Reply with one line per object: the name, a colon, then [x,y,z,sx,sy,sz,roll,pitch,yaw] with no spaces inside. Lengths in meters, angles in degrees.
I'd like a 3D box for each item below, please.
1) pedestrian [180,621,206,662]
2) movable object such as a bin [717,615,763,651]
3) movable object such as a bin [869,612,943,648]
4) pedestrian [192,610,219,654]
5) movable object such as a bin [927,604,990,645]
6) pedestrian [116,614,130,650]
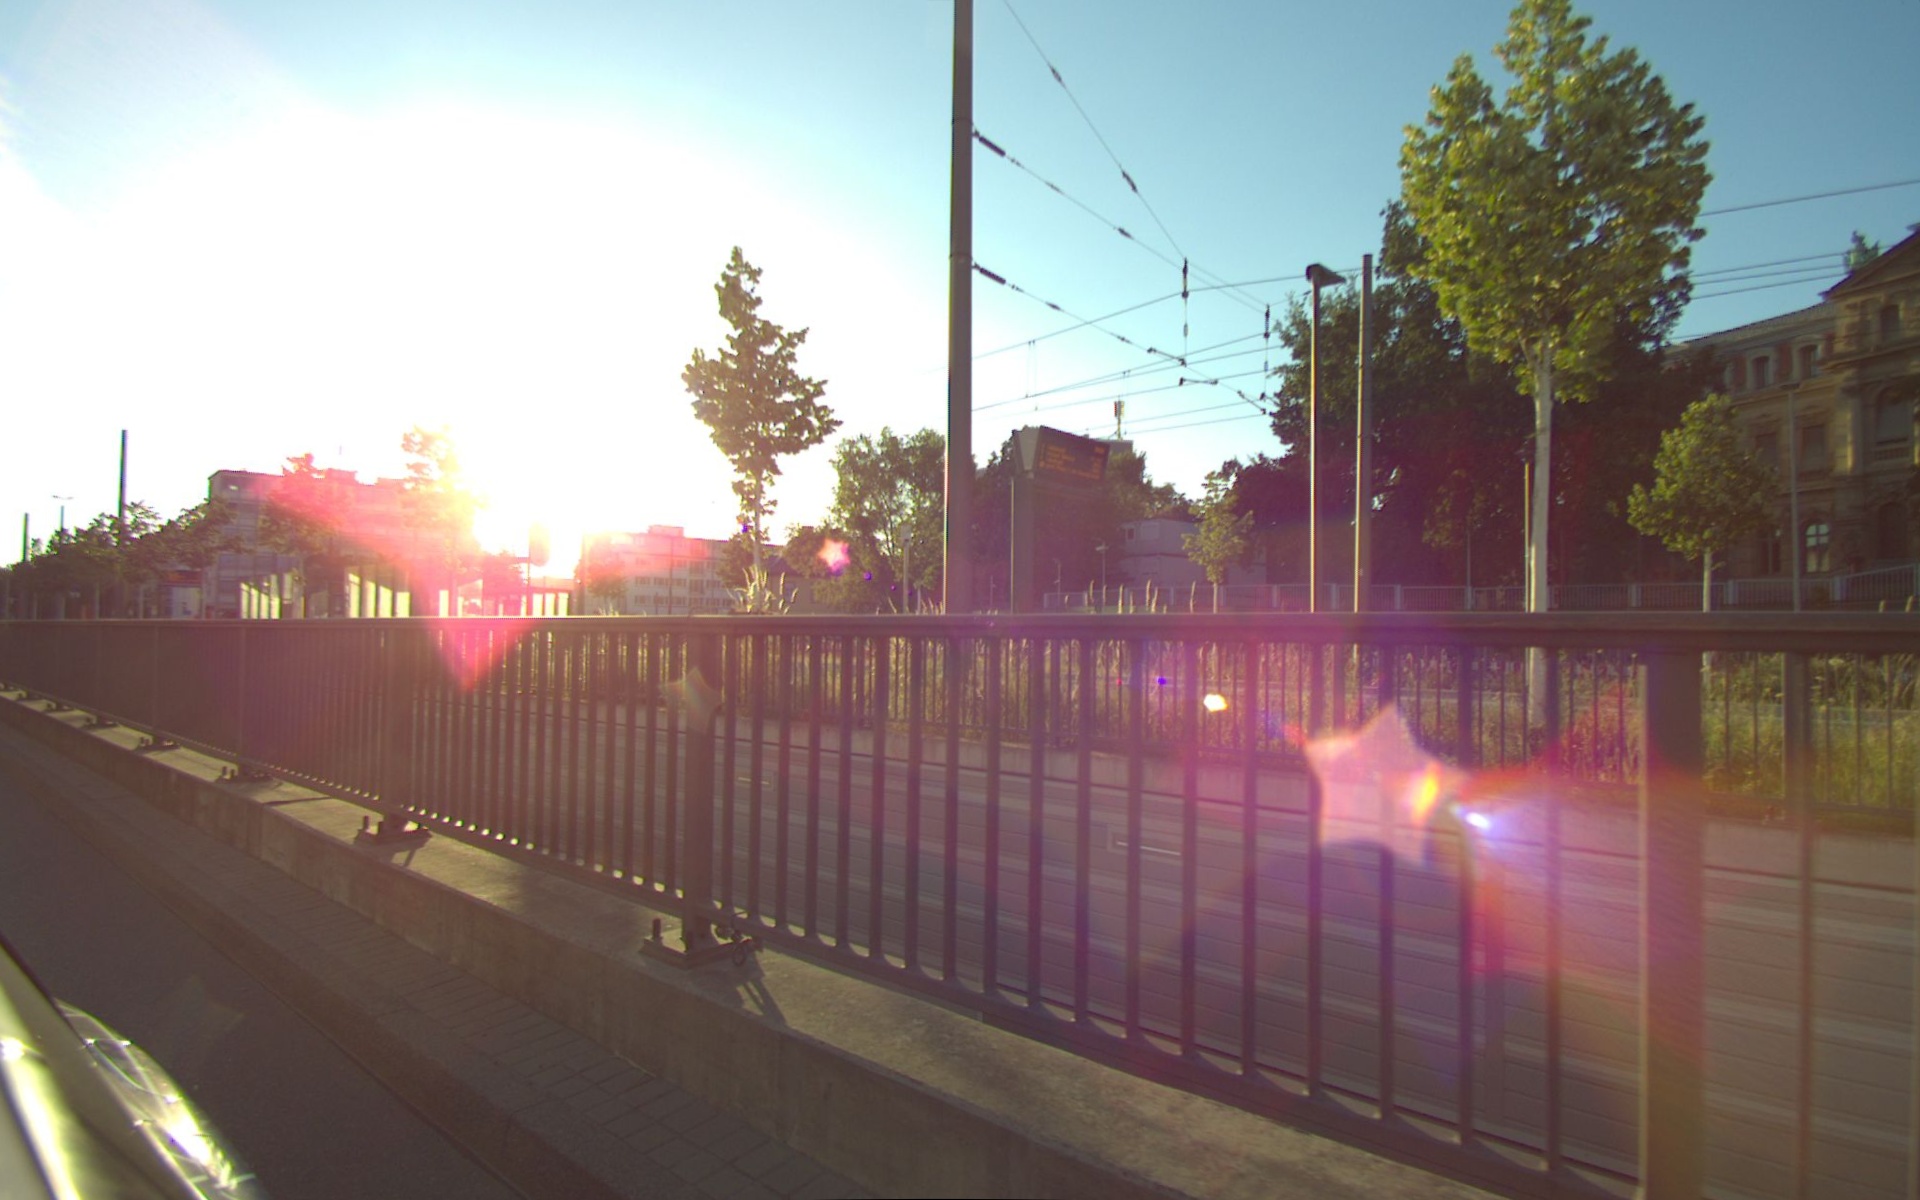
pedestrian: [-33.488,1.828,44.205,0.634,1.758,0.719,-2,-3,33]
movable object such as a bin: [-16.910,2.523,77.600,1.967,2.727,4.009,1,-2,-36]
movable object such as a bin: [-3.549,1.939,66.123,4.940,2.263,1.971,-2,-2,43]
pedestrian: [-30.364,1.290,40.709,0.633,1.742,0.630,-1,-3,29]
movable object such as a bin: [-0.127,1.673,68.793,4.000,2.727,1.971,-2,-2,43]
pedestrian: [-42.029,1.595,50.829,0.465,1.800,0.627,2,-2,-42]
